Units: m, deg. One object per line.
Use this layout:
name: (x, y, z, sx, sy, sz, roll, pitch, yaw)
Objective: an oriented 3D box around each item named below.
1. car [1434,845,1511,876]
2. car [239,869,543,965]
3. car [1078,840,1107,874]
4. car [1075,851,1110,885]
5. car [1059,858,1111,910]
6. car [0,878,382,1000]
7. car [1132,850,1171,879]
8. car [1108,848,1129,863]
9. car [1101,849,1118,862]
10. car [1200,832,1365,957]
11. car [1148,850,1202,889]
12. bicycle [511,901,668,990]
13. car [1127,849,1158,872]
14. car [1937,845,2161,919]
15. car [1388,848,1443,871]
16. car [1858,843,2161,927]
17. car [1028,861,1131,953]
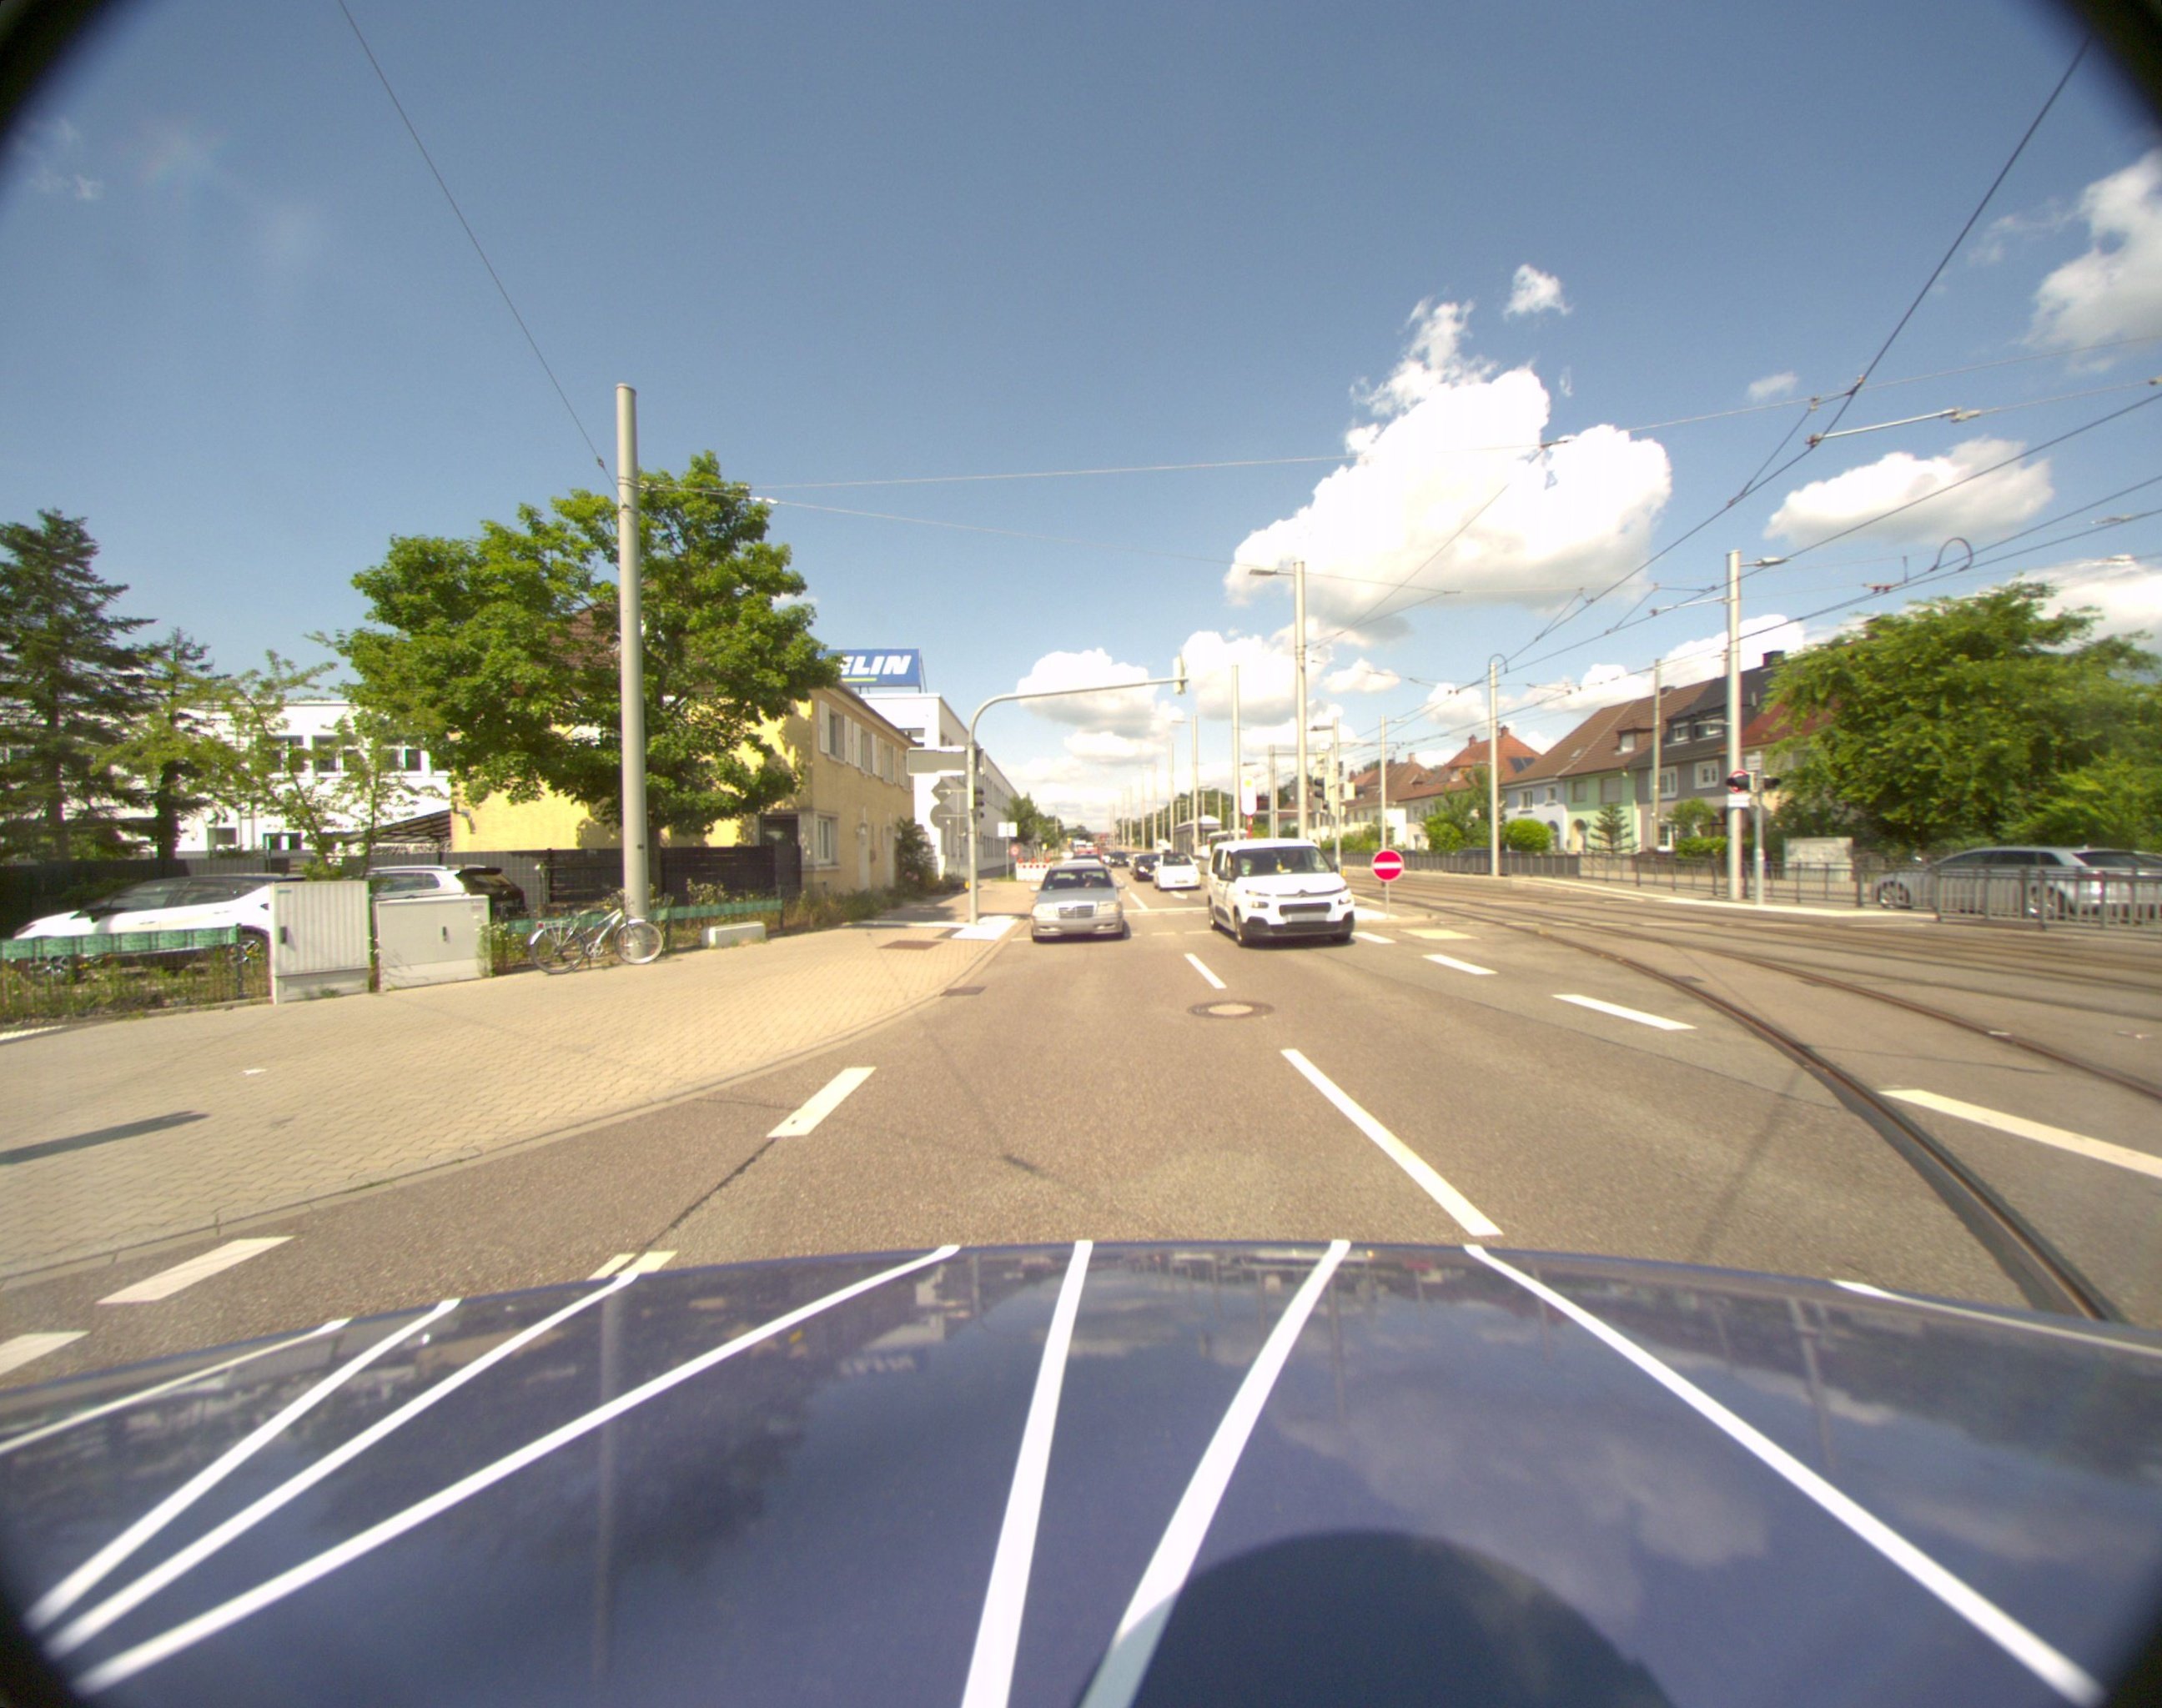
car: (19.232, 0.262, 37.529, 1.688, 1.344, 4.177, -3, 1, 2)
car: (-13.335, 1.165, 14.929, 4.117, 1.587, 1.799, -2, 0, -5)
car: (0.738, 0.162, 52.380, 1.787, 2.135, 5.168, -3, 1, -1)
car: (0.544, 0.684, 39.076, 1.664, 1.530, 3.999, -3, 1, -1)
car: (0.103, 1.024, 27.415, 1.664, 1.564, 3.999, -3, 1, -1)
car: (-14.167, 1.282, 12.115, 4.118, 1.587, 1.799, -2, 0, -6)
car: (3.848, 0.566, 41.998, 1.680, 1.414, 3.557, -3, 1, -2)
car: (3.728, 0.124, 76.121, 1.698, 1.350, 4.498, -3, 1, -1)
car: (3.316, 0.157, 89.027, 1.698, 1.350, 4.498, -3, 1, -1)
car: (3.378, 0.575, 13.625, 1.799, 1.805, 4.329, -3, 1, 1)
car: (3.923, 0.613, 32.149, 1.680, 1.495, 3.392, -3, 1, -2)
bicycle: (-6.971, 1.256, 10.859, 0.462, 1.013, 1.759, -1, 2, 41)
car: (4.174, 0.434, 52.382, 1.698, 1.350, 4.498, -3, 1, -1)
car: (22.529, 0.538, 17.141, 1.688, 1.344, 4.345, -3, 1, 4)
car: (21.861, 0.311, 49.846, 1.688, 1.344, 4.344, -3, 1, 1)
car: (18.703, 0.509, 15.256, 1.998, 1.344, 4.177, -3, 1, 2)
car: (-0.050, 0.936, 15.436, 1.725, 1.389, 4.461, -3, 1, -1)
